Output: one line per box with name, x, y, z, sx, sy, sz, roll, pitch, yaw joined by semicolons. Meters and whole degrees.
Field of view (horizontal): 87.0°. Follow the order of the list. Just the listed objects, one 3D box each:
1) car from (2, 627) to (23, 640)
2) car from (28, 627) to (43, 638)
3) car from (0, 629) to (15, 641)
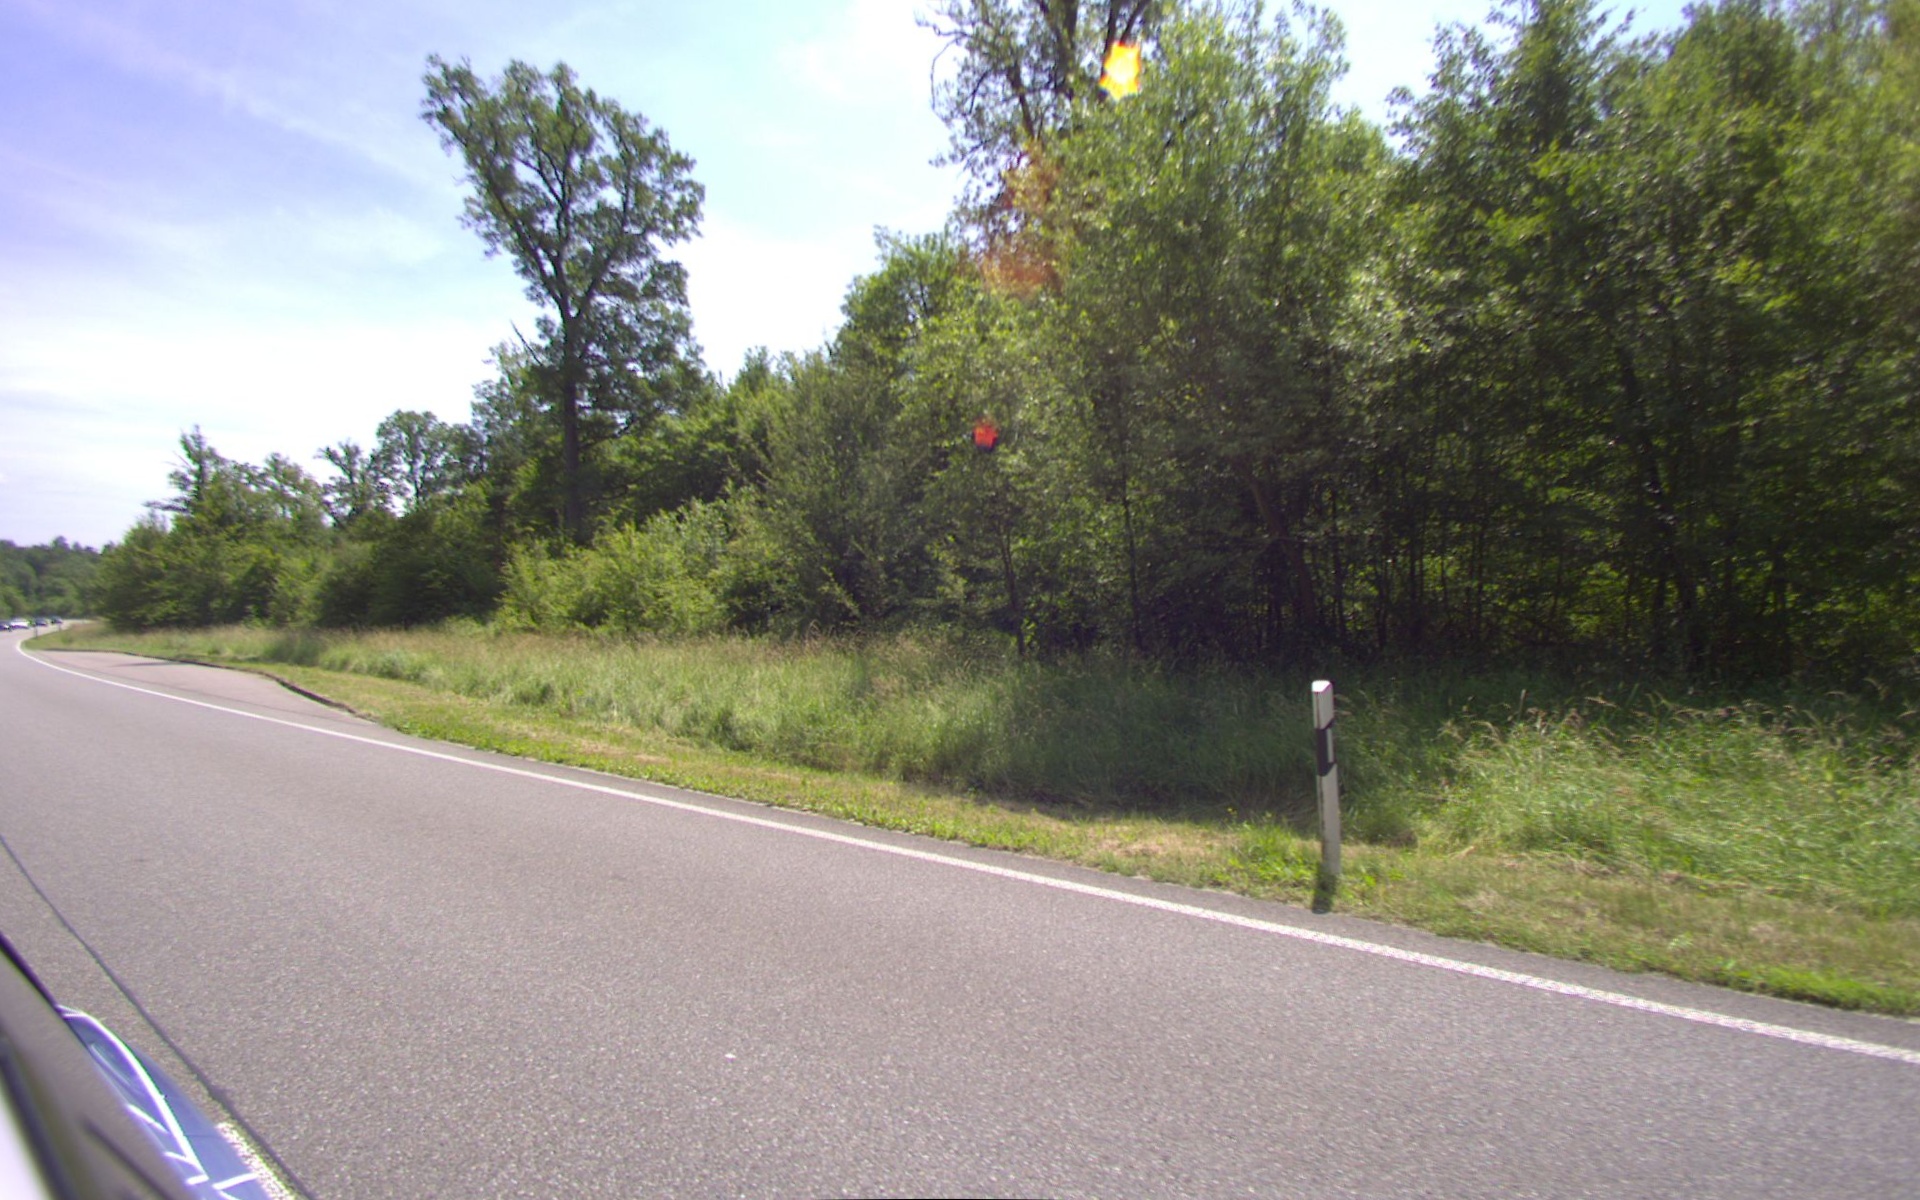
car;-135.871;4.812;145.078;1.989;1.761;4.387;0;-1;-41
car;-156.179;5.536;170.941;1.667;1.741;4.007;0;0;-40
car;-116.851;4.249;123.750;1.750;1.474;4.005;0;-1;-41
